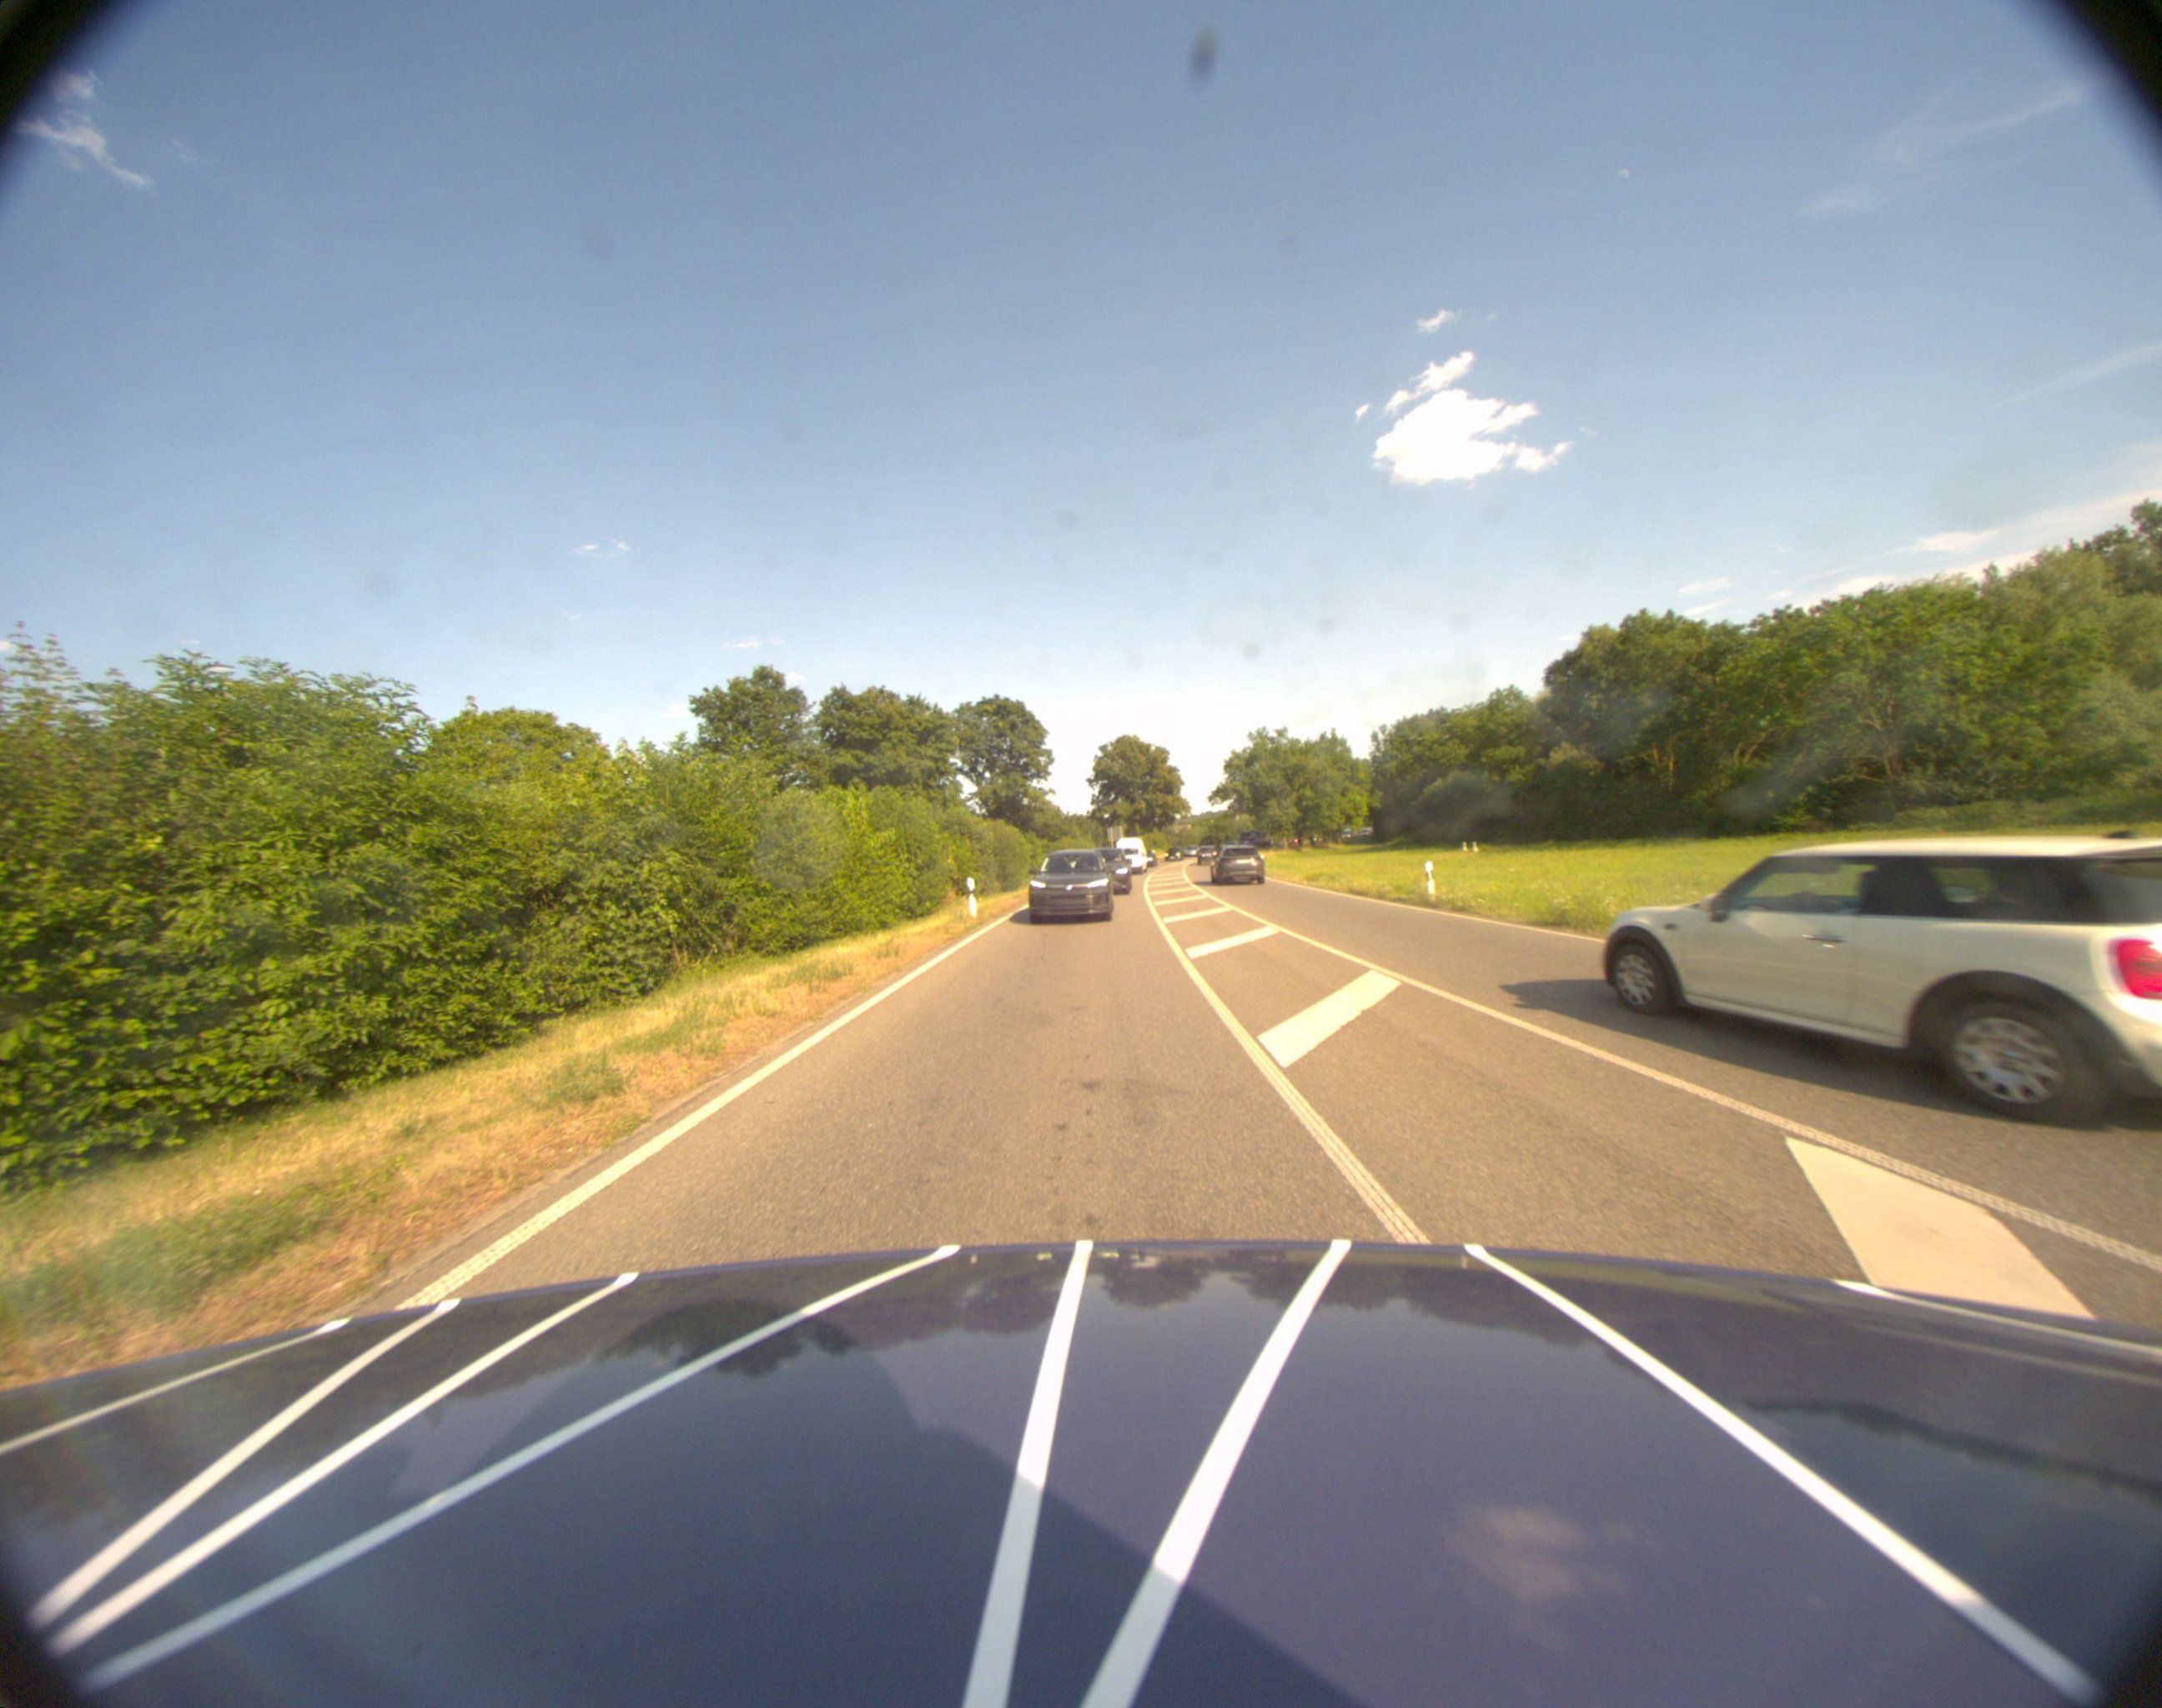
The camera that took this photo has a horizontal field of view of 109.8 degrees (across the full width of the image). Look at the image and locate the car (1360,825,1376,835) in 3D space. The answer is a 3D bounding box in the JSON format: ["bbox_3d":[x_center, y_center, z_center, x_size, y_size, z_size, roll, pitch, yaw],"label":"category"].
[{"bbox_3d":[75.448,-6.395,199.578,2.084,2.403,5.151,-2,2,40],"label":"car"}]

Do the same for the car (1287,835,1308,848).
[{"bbox_3d":[44.376,-2.573,155.794,2.084,2.403,5.151,-2,2,40],"label":"car"}]

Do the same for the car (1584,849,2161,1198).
[{"bbox_3d":[5.369,0.709,4.850,1.725,1.428,3.748,-2,1,-2],"label":"car"}]

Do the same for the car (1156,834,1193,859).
[{"bbox_3d":[10.116,-0.839,82.146,2.085,2.403,5.150,-2,2,29],"label":"car"}]

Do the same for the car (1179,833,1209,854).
[{"bbox_3d":[14.798,-1.412,99.359,2.085,2.403,5.150,-2,2,29],"label":"car"}]

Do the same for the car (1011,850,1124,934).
[{"bbox_3d":[-0.163,0.793,18.228,1.921,1.612,4.703,-3,1,8],"label":"car"}]

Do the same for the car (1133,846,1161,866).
[{"bbox_3d":[5.602,0.132,64.183,1.697,1.544,4.155,-1,1,13],"label":"car"}]

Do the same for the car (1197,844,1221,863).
[{"bbox_3d":[10.876,-0.040,64.446,1.697,1.543,4.156,-1,0,13],"label":"car"}]

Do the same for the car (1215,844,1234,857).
[{"bbox_3d":[16.880,-0.424,89.556,1.703,1.326,4.750,-2,1,6],"label":"car"}]

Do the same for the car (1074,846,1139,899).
[{"bbox_3d":[1.074,0.636,28.906,1.921,1.719,4.703,-3,1,8],"label":"car"}]

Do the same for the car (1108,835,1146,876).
[{"bbox_3d":[3.077,0.043,49.416,2.087,2.403,5.143,-3,1,6],"label":"car"}]

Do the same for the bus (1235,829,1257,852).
[{"bbox_3d":[25.058,-2.210,115.802,2.799,3.163,12.132,-3,1,10],"label":"bus"}]

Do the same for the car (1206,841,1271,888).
[{"bbox_3d":[6.511,0.421,31.922,1.998,1.714,4.427,-3,0,4],"label":"car"}]

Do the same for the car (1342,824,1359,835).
[{"bbox_3d":[66.457,-6.060,187.350,2.084,2.403,5.151,-2,2,40],"label":"car"}]
